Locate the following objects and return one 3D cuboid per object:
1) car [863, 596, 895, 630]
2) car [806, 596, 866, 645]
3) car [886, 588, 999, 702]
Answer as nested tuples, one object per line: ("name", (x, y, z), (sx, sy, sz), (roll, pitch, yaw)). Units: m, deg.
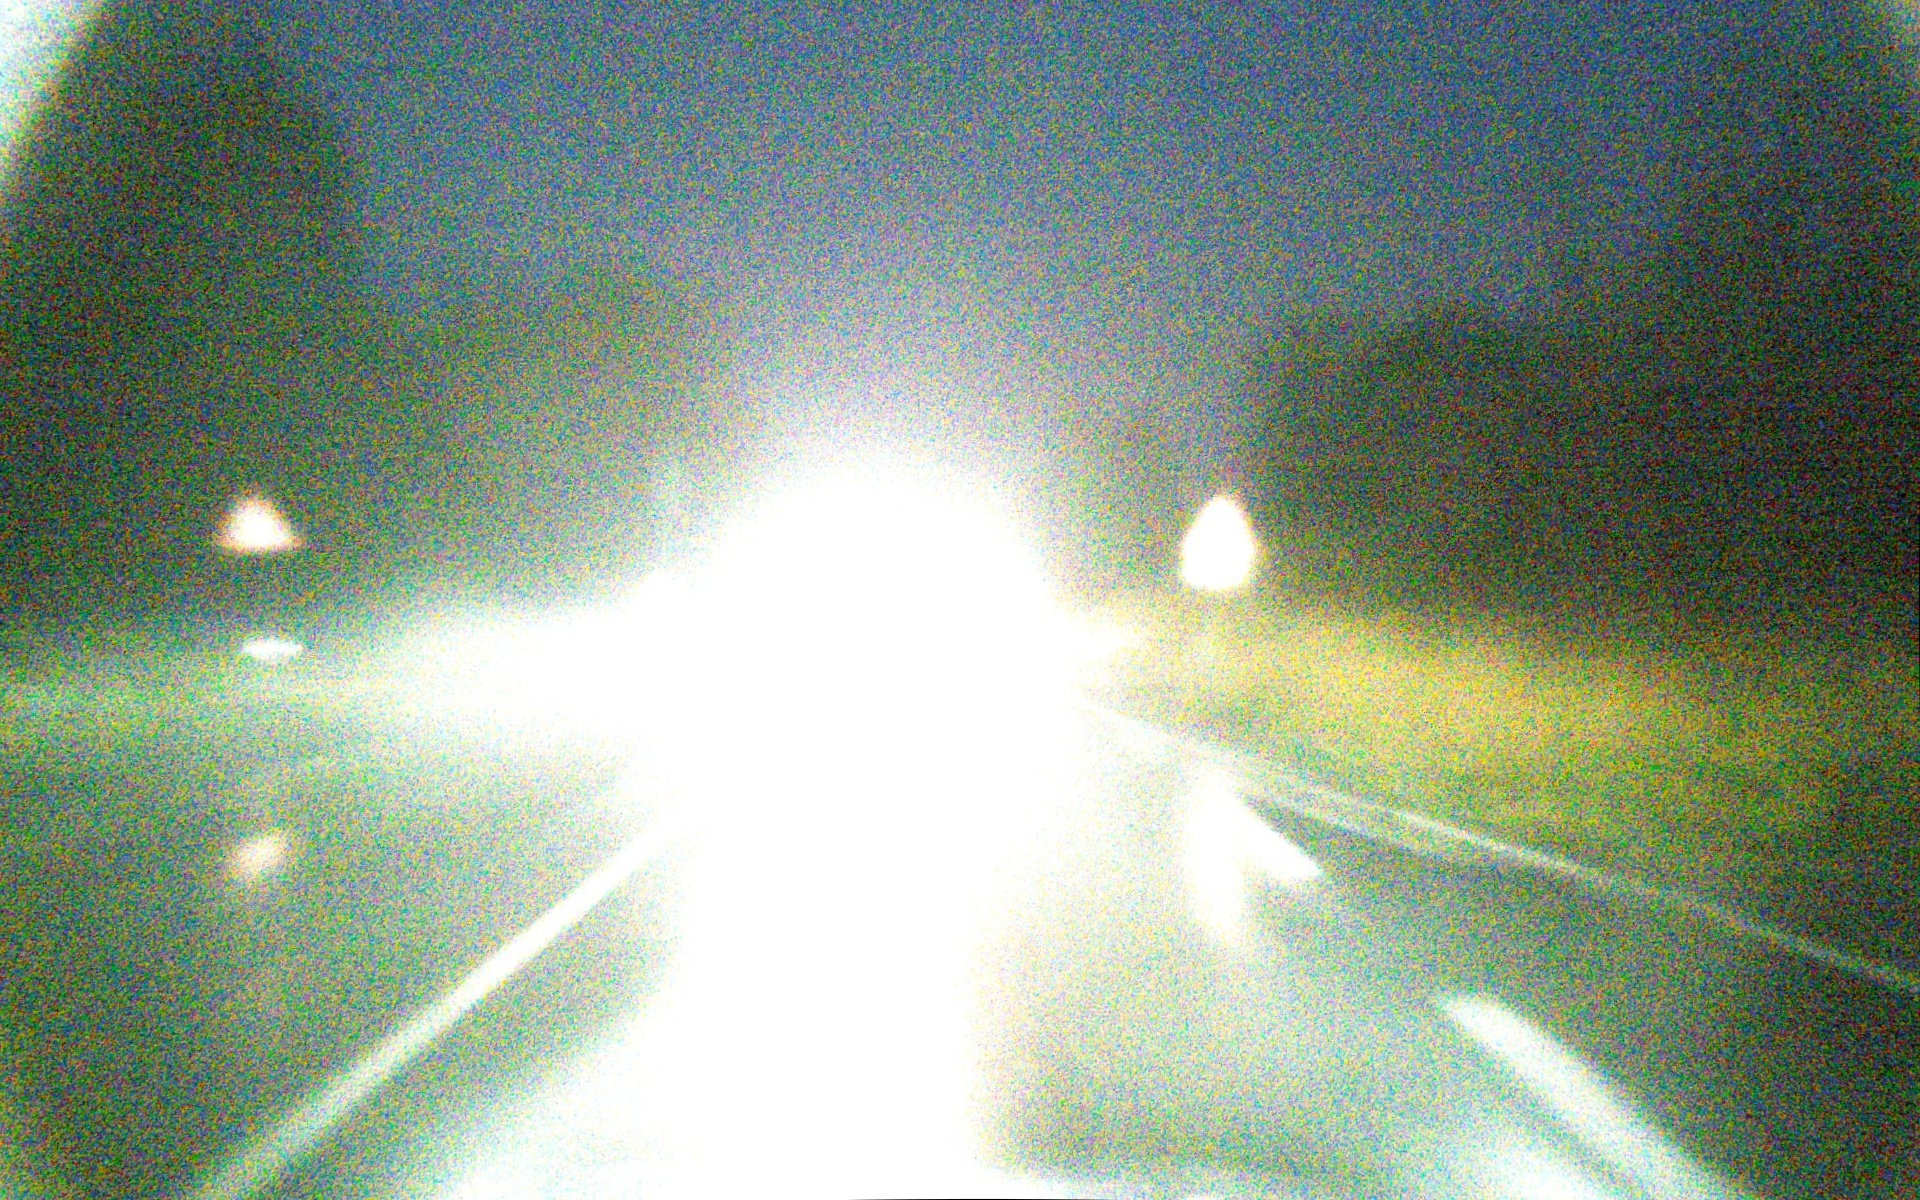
("car", (-5.096, 0.771, 103.809), (1.954, 2.049, 3.997), (1, 0, -4))
("car", (-3.952, 0.622, 52.286), (1.713, 1.451, 3.680), (-1, 0, -7))
("car", (-0.365, 0.818, 32.406), (2.051, 2.049, 3.999), (1, 0, -1))
